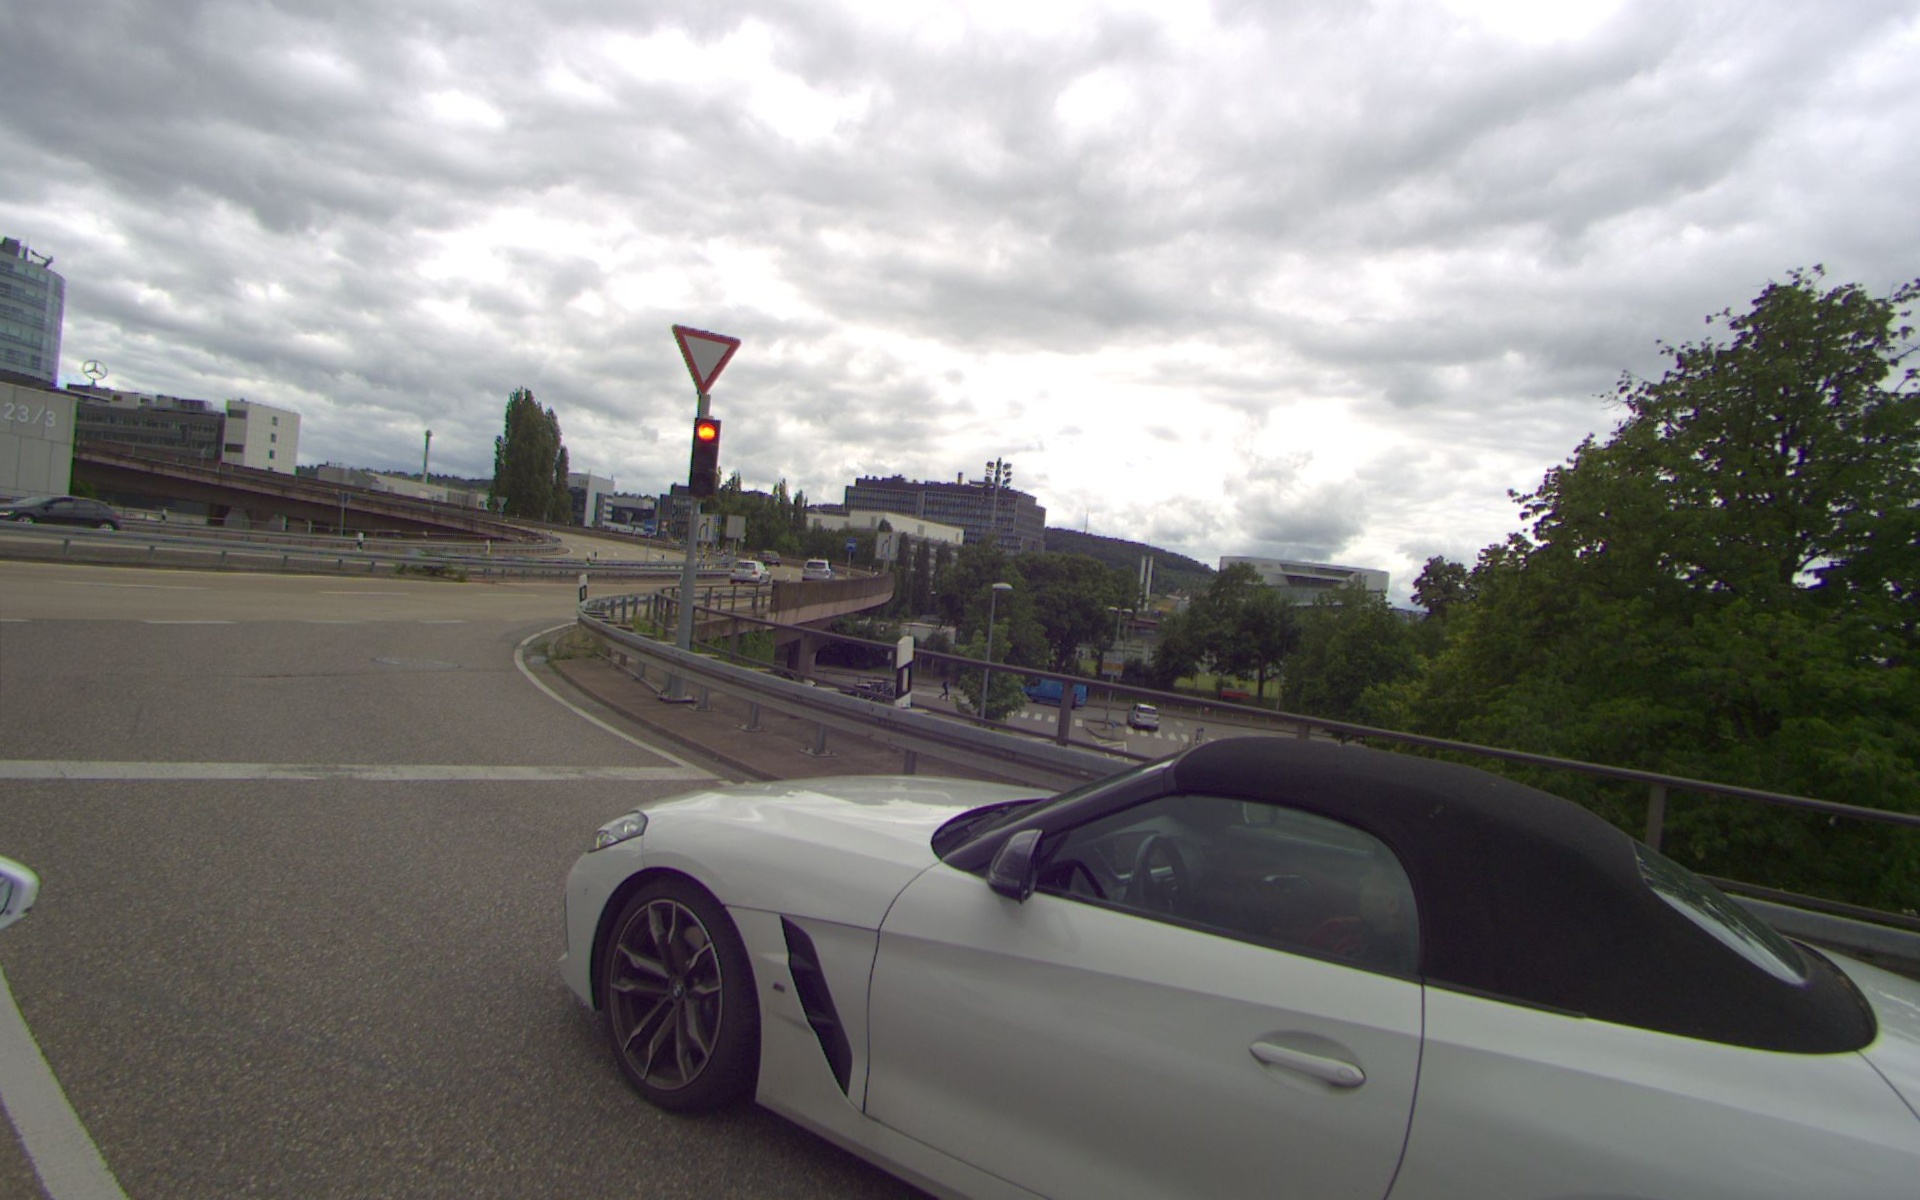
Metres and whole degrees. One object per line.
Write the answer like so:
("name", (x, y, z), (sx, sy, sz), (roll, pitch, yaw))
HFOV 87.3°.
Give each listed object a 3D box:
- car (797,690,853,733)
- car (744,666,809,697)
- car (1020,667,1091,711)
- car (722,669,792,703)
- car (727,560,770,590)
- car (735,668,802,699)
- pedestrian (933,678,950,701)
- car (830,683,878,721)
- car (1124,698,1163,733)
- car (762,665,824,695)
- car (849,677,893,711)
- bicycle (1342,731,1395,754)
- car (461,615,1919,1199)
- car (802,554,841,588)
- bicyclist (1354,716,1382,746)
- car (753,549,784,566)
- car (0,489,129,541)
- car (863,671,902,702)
("car", (-6.816, 5.636, 51.138), (1.792, 1.553, 4.000), (8, 0, 6))
("car", (-12.071, 5.376, 66.341), (3.792, 1.371, 1.826), (8, 1, 1))
("car", (7.990, 7.416, 84.306), (5.304, 2.617, 2.013), (9, -2, 35))
("car", (-12.464, 5.271, 61.882), (3.792, 1.371, 1.826), (8, 1, 1))
("car", (-12.201, -1.404, 58.329), (1.699, 1.417, 4.064), (7, 0, -3))
("car", (-12.186, 5.318, 64.222), (3.792, 1.371, 1.826), (8, 1, 1))
("pedestrian", (-1.369, 6.644, 74.496), (0.898, 1.514, 0.750), (8, -3, 15))
("car", (-6.056, 5.800, 57.755), (1.792, 1.553, 4.000), (8, 0, 6))
("car", (13.549, 8.515, 74.595), (1.979, 1.883, 4.866), (10, -2, 4))
("car", (-11.471, 5.492, 69.121), (3.792, 1.371, 1.826), (8, 1, 1))
("car", (-5.527, 5.836, 63.075), (1.792, 1.553, 4.195), (8, 0, 6))
("bicycle", (32.638, 11.364, 80.320), (3.788, 1.189, 1.092), (10, -5, -6))
("car", (0.611, 0.999, 3.004), (4.194, 1.306, 1.808), (7, -2, 34))
("car", (-8.918, -1.844, 65.071), (1.698, 1.758, 4.555), (7, 0, 0))
("bicyclist", (32.576, 10.473, 80.366), (1.540, 2.114, 1.092), (10, -5, -6))
("car", (-19.401, -4.272, 101.709), (1.709, 1.480, 4.213), (5, 0, -29))
("car", (-33.367, -3.134, 36.879), (1.879, 1.440, 3.992), (8, 1, 19))
("car", (-5.277, 5.862, 68.623), (1.792, 1.553, 4.000), (8, 0, 6))
